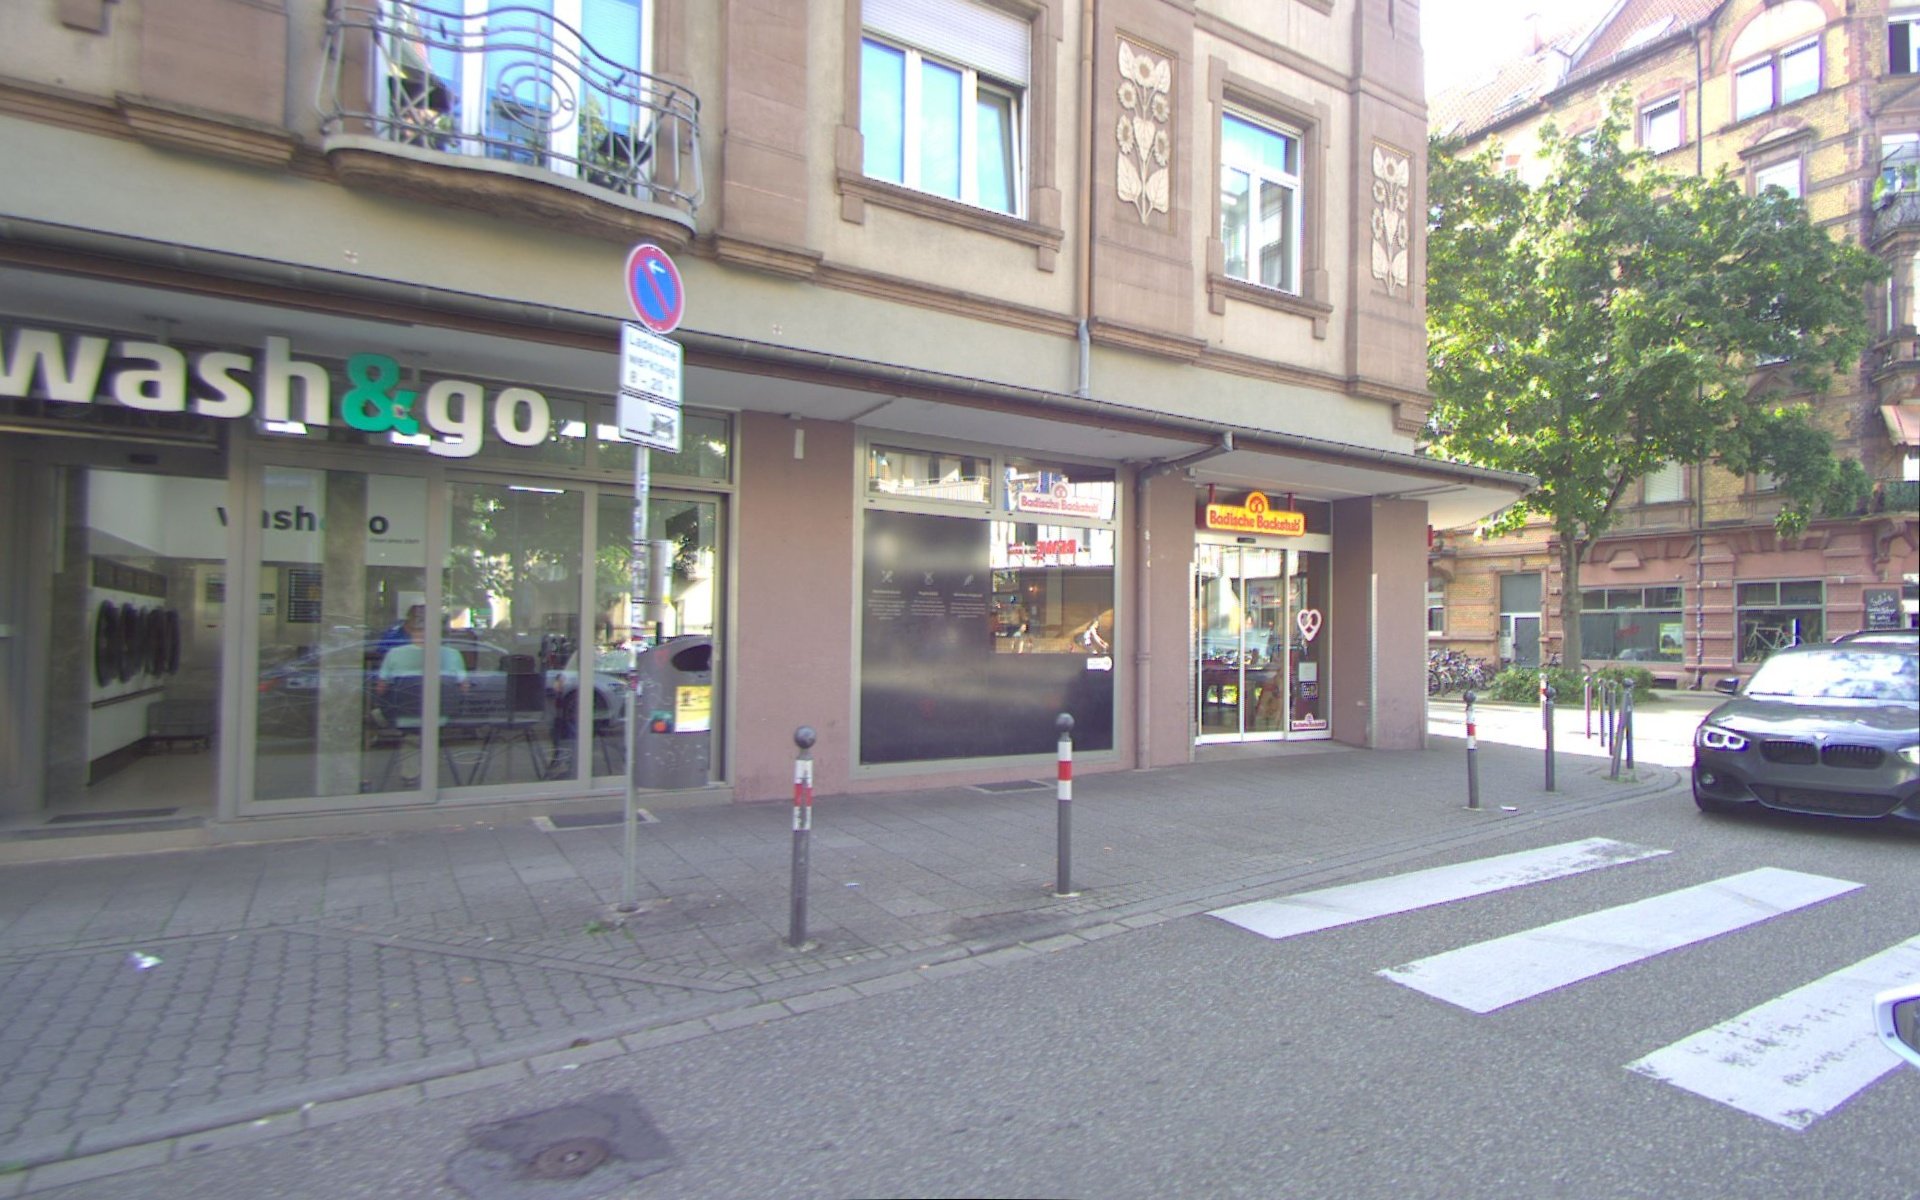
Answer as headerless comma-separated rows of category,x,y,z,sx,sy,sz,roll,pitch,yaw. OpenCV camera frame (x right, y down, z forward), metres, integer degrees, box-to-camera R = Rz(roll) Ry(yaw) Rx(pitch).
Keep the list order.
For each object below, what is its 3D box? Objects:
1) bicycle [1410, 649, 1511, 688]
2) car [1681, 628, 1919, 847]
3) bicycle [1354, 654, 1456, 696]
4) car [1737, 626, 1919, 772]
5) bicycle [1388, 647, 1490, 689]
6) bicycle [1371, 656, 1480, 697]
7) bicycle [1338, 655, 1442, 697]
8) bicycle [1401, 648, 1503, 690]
bicycle,15.542,2.117,31.296,0.626,1.138,2.879,2,-3,-34
car,7.713,1.027,8.592,4.182,1.455,1.733,3,-2,-43
bicycle,13.096,2.178,29.680,0.626,1.138,2.879,2,-3,-34
car,13.253,1.250,14.077,4.789,1.744,1.935,0,-3,-29
bicycle,14.479,2.032,30.481,0.626,1.206,2.879,2,-3,-34
bicycle,13.848,2.253,30.012,0.626,1.138,3.078,2,-3,-34
bicycle,12.515,2.191,29.336,0.719,1.138,2.879,2,-3,-34
bicycle,15.079,2.079,30.894,0.626,1.213,2.879,2,-3,-34
